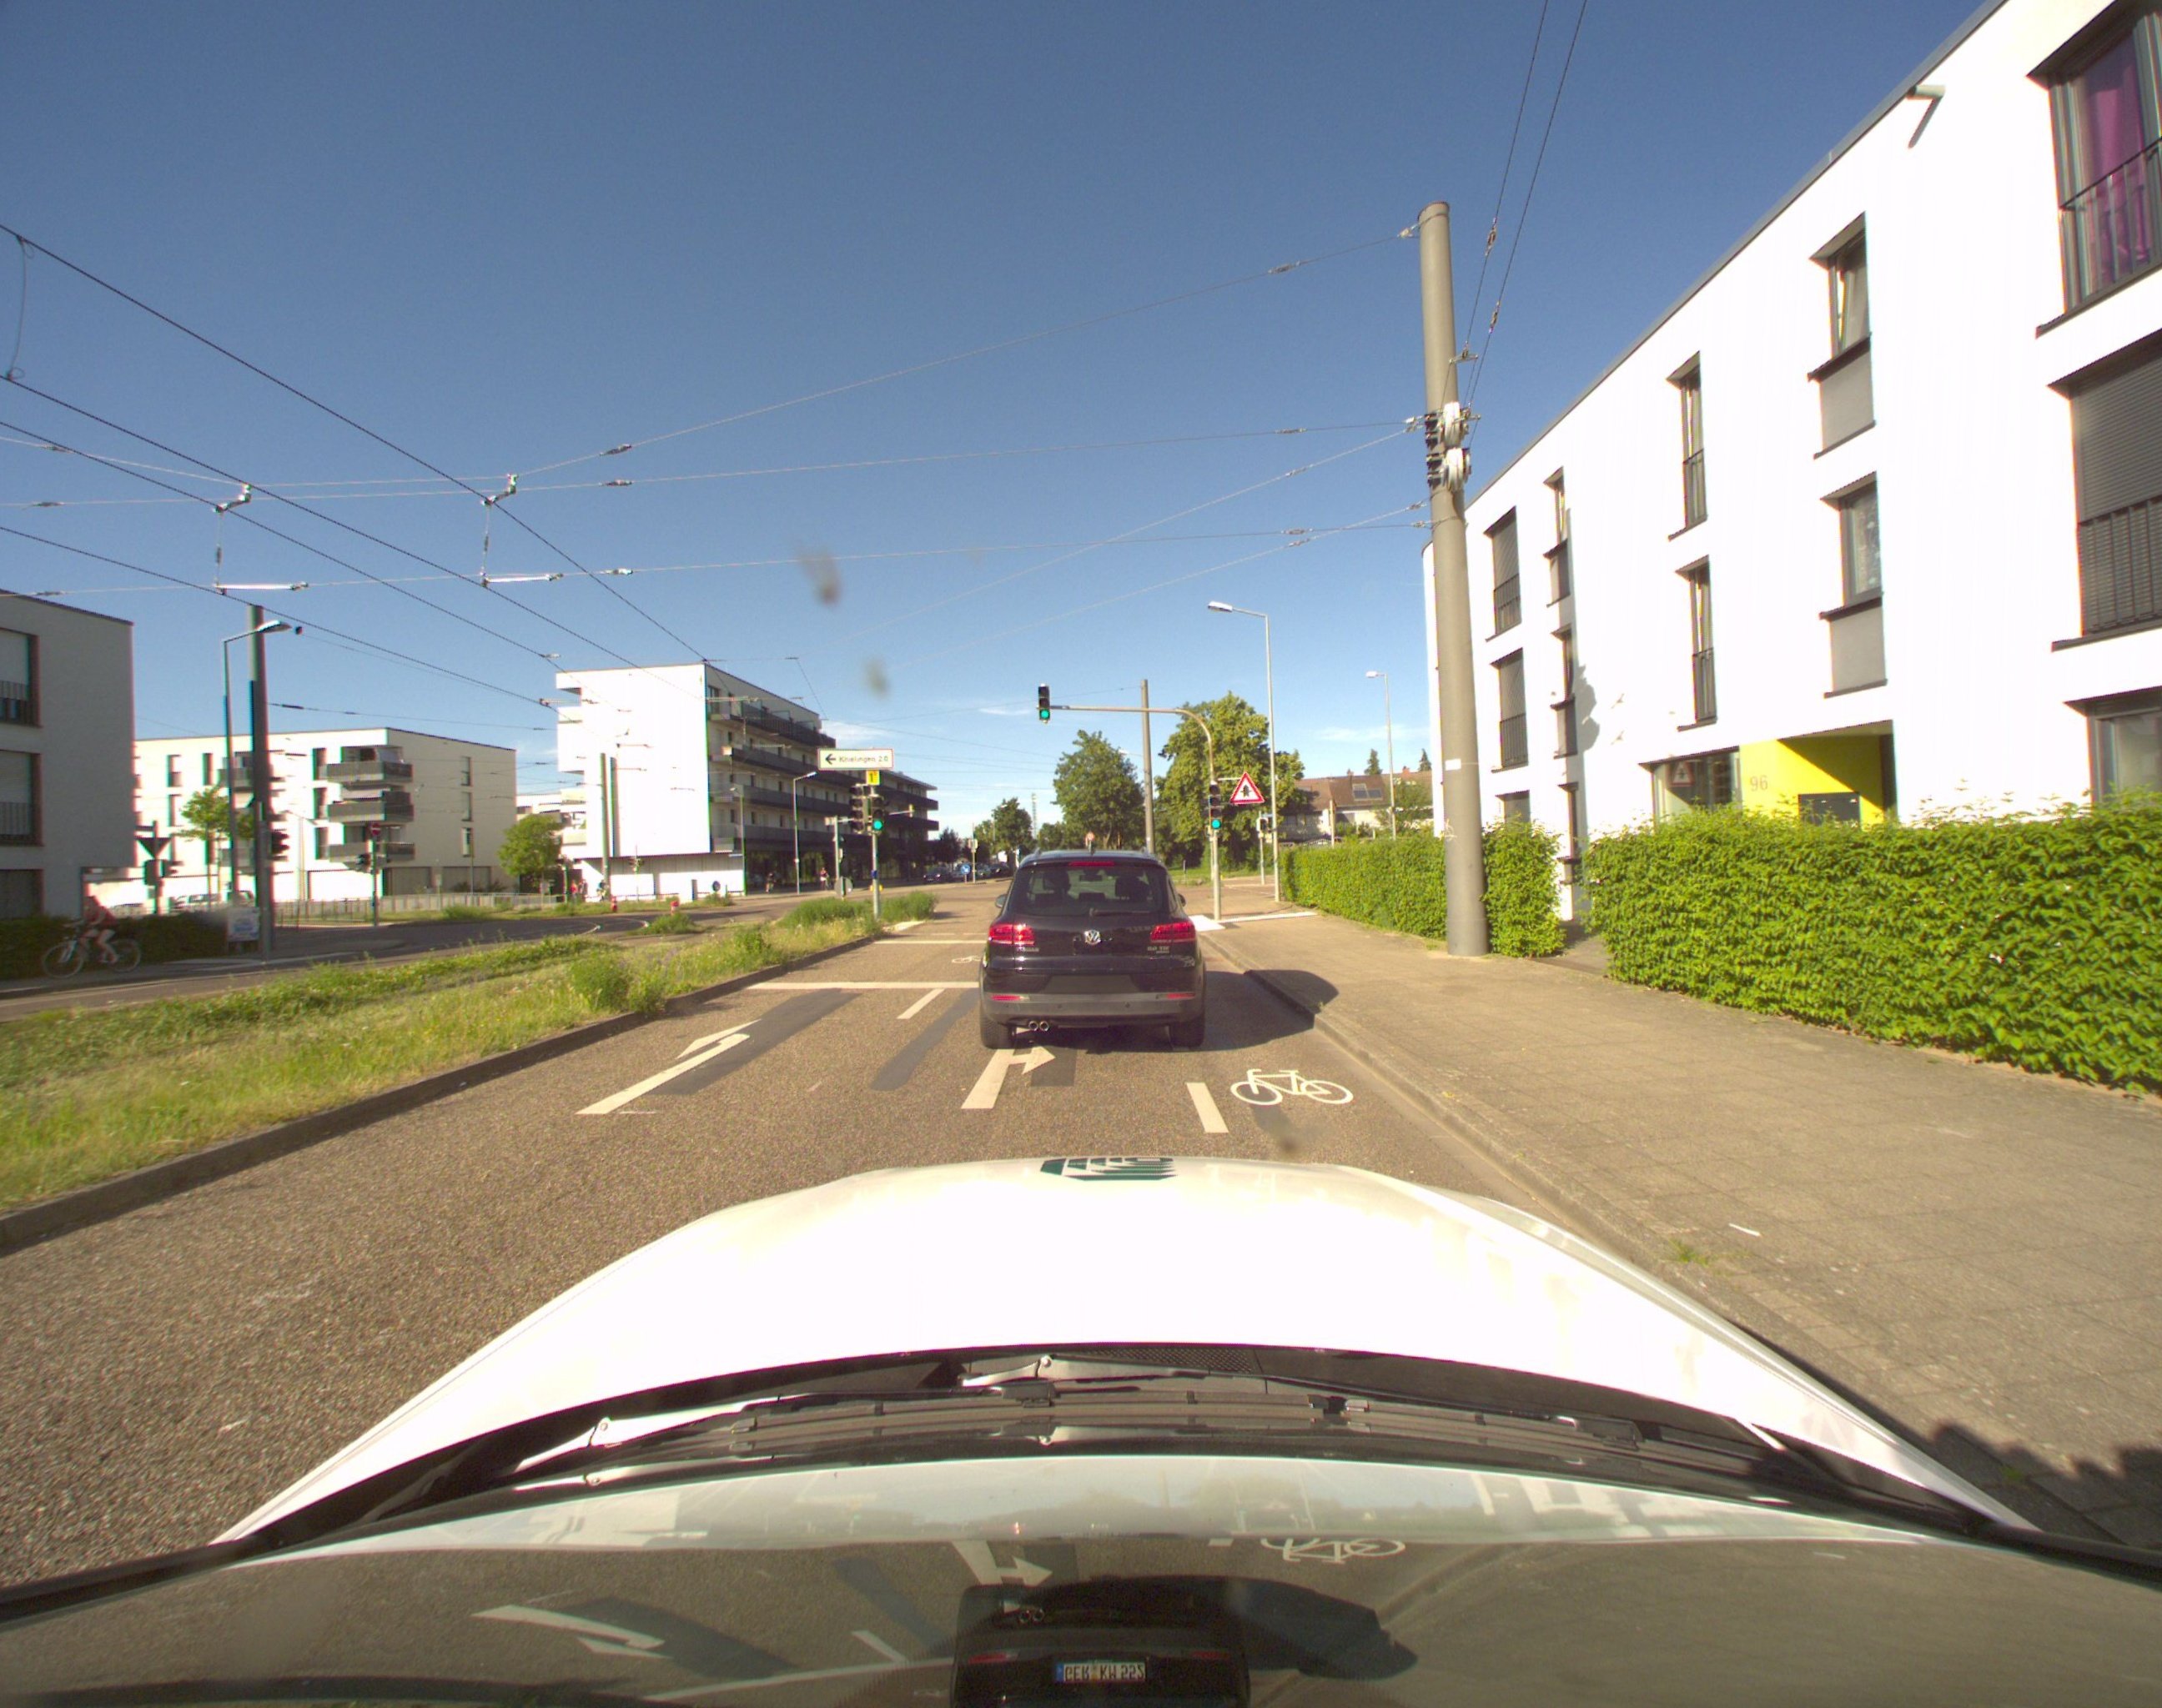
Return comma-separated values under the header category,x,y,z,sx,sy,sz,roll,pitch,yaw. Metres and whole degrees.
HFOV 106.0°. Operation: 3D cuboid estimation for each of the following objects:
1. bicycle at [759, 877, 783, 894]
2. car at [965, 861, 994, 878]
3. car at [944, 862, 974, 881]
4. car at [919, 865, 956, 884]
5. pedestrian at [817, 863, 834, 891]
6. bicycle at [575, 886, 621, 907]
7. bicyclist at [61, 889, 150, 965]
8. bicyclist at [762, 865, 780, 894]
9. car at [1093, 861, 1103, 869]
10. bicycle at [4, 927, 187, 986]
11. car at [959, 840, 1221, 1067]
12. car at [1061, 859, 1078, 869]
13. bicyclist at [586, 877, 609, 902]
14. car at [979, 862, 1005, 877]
category,x,y,z,sx,sy,sz,roll,pitch,yaw
bicycle,-22.494,2.287,59.182,0.737,1.144,1.650,-3,-1,17
car,-10.415,1.579,83.678,1.982,1.487,3.552,-5,-1,8
car,-11.768,1.654,78.668,1.985,1.755,4.365,-2,-1,3
car,-12.474,1.745,70.990,1.685,1.456,4.465,-3,-1,10
pedestrian,-19.344,1.735,61.580,0.974,2.014,0.760,-3,-1,-1
bicycle,-32.119,2.801,54.203,0.895,1.198,2.834,-3,-1,11
bicyclist,-20.500,1.523,17.136,0.887,1.490,0.745,-3,-1,-5
bicyclist,-22.520,1.864,59.178,0.802,2.013,0.799,-3,-1,17
car,3.952,2.470,186.630,1.985,1.737,5.205,-3,0,4
bicycle,-20.465,2.098,17.034,0.898,0.892,2.480,-3,-1,-4
car,0.089,0.748,8.244,1.923,1.654,4.514,0,-1,0
car,-1.859,1.572,130.803,1.981,1.571,4.011,-3,-1,10
bicyclist,-32.146,2.350,54.177,0.887,1.592,0.916,-3,-1,10
car,-9.727,1.685,89.291,1.958,1.534,4.745,-3,-1,4
